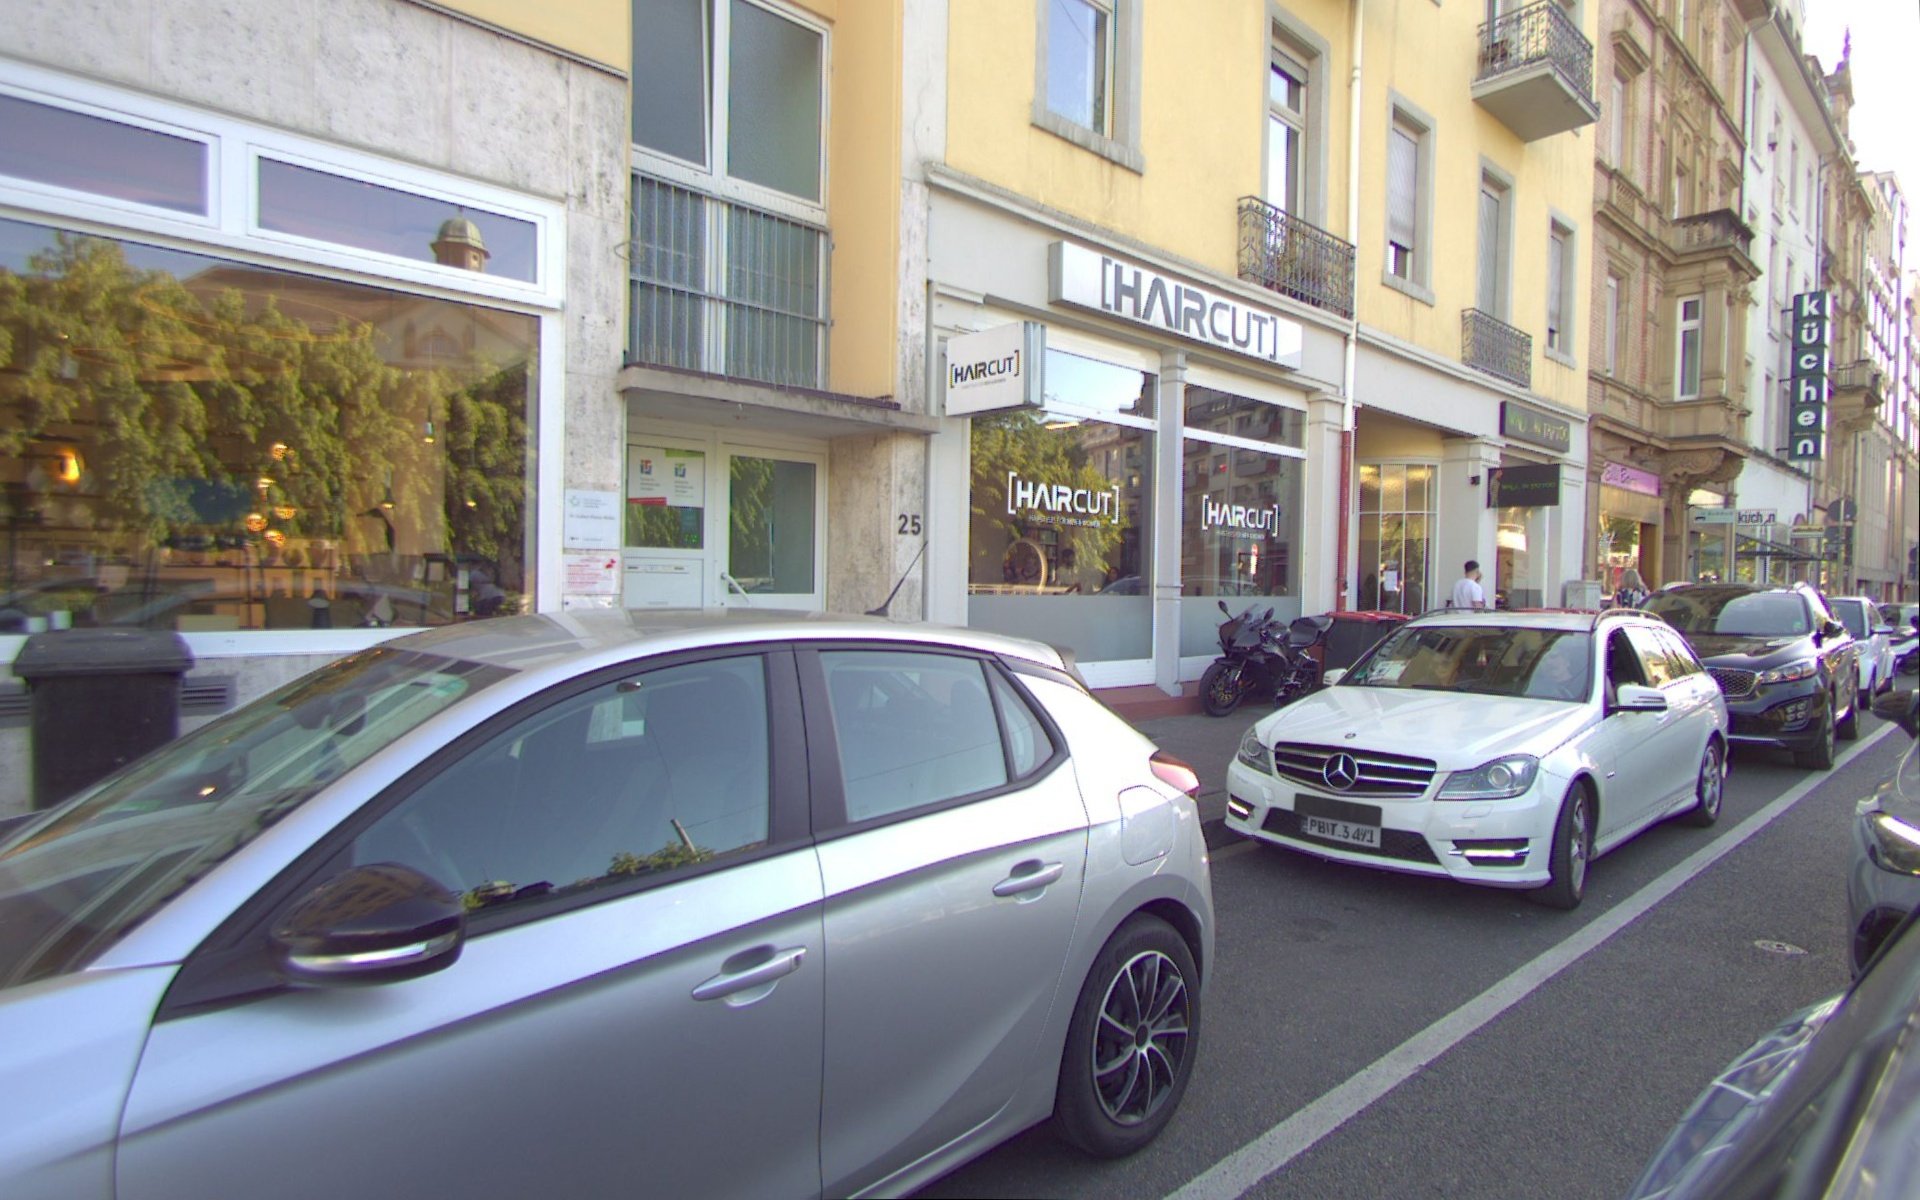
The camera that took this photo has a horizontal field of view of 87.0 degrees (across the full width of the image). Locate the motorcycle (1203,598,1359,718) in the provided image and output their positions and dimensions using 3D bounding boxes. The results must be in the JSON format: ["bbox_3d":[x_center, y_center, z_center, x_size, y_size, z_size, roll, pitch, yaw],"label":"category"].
[{"bbox_3d":[3.340,0.548,10.419,1.920,1.091,0.567,-1,4,-41],"label":"motorcycle"}]

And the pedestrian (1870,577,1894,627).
[{"bbox_3d":[34.345,0.069,37.706,0.653,1.874,0.574,0,0,-40],"label":"pedestrian"}]

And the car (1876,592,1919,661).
[{"bbox_3d":[22.225,0.557,23.040,4.016,1.450,1.657,-1,0,-42],"label":"car"}]

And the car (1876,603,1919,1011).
[{"bbox_3d":[5.261,0.707,4.237,3.933,1.376,1.799,-1,1,-43],"label":"car"}]

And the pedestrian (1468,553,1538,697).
[{"bbox_3d":[7.304,0.320,13.612,0.565,1.874,0.664,0,0,-39],"label":"pedestrian"}]

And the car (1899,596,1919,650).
[{"bbox_3d":[26.621,0.590,27.155,3.773,1.357,1.800,-1,1,-42],"label":"car"}]

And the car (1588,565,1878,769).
[{"bbox_3d":[8.005,0.517,10.322,4.176,1.659,1.799,-1,0,-45],"label":"car"}]

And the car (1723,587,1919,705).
[{"bbox_3d":[13.122,0.582,15.331,4.016,1.546,1.800,-1,0,-42],"label":"car"}]

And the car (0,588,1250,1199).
[{"bbox_3d":[-1.003,0.699,2.295,3.597,1.445,1.549,-1,1,-42],"label":"car"}]

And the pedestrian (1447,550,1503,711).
[{"bbox_3d":[6.607,0.377,13.002,0.367,2.008,0.693,1,1,5],"label":"pedestrian"}]

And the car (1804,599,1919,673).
[{"bbox_3d":[18.040,0.637,19.809,4.016,1.282,1.800,-1,1,-42],"label":"car"}]

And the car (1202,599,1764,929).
[{"bbox_3d":[3.525,0.701,6.417,4.302,1.376,1.703,-1,0,-41],"label":"car"}]

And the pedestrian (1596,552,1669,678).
[{"bbox_3d":[9.176,0.191,13.823,0.711,1.674,0.601,0,0,23],"label":"pedestrian"}]
